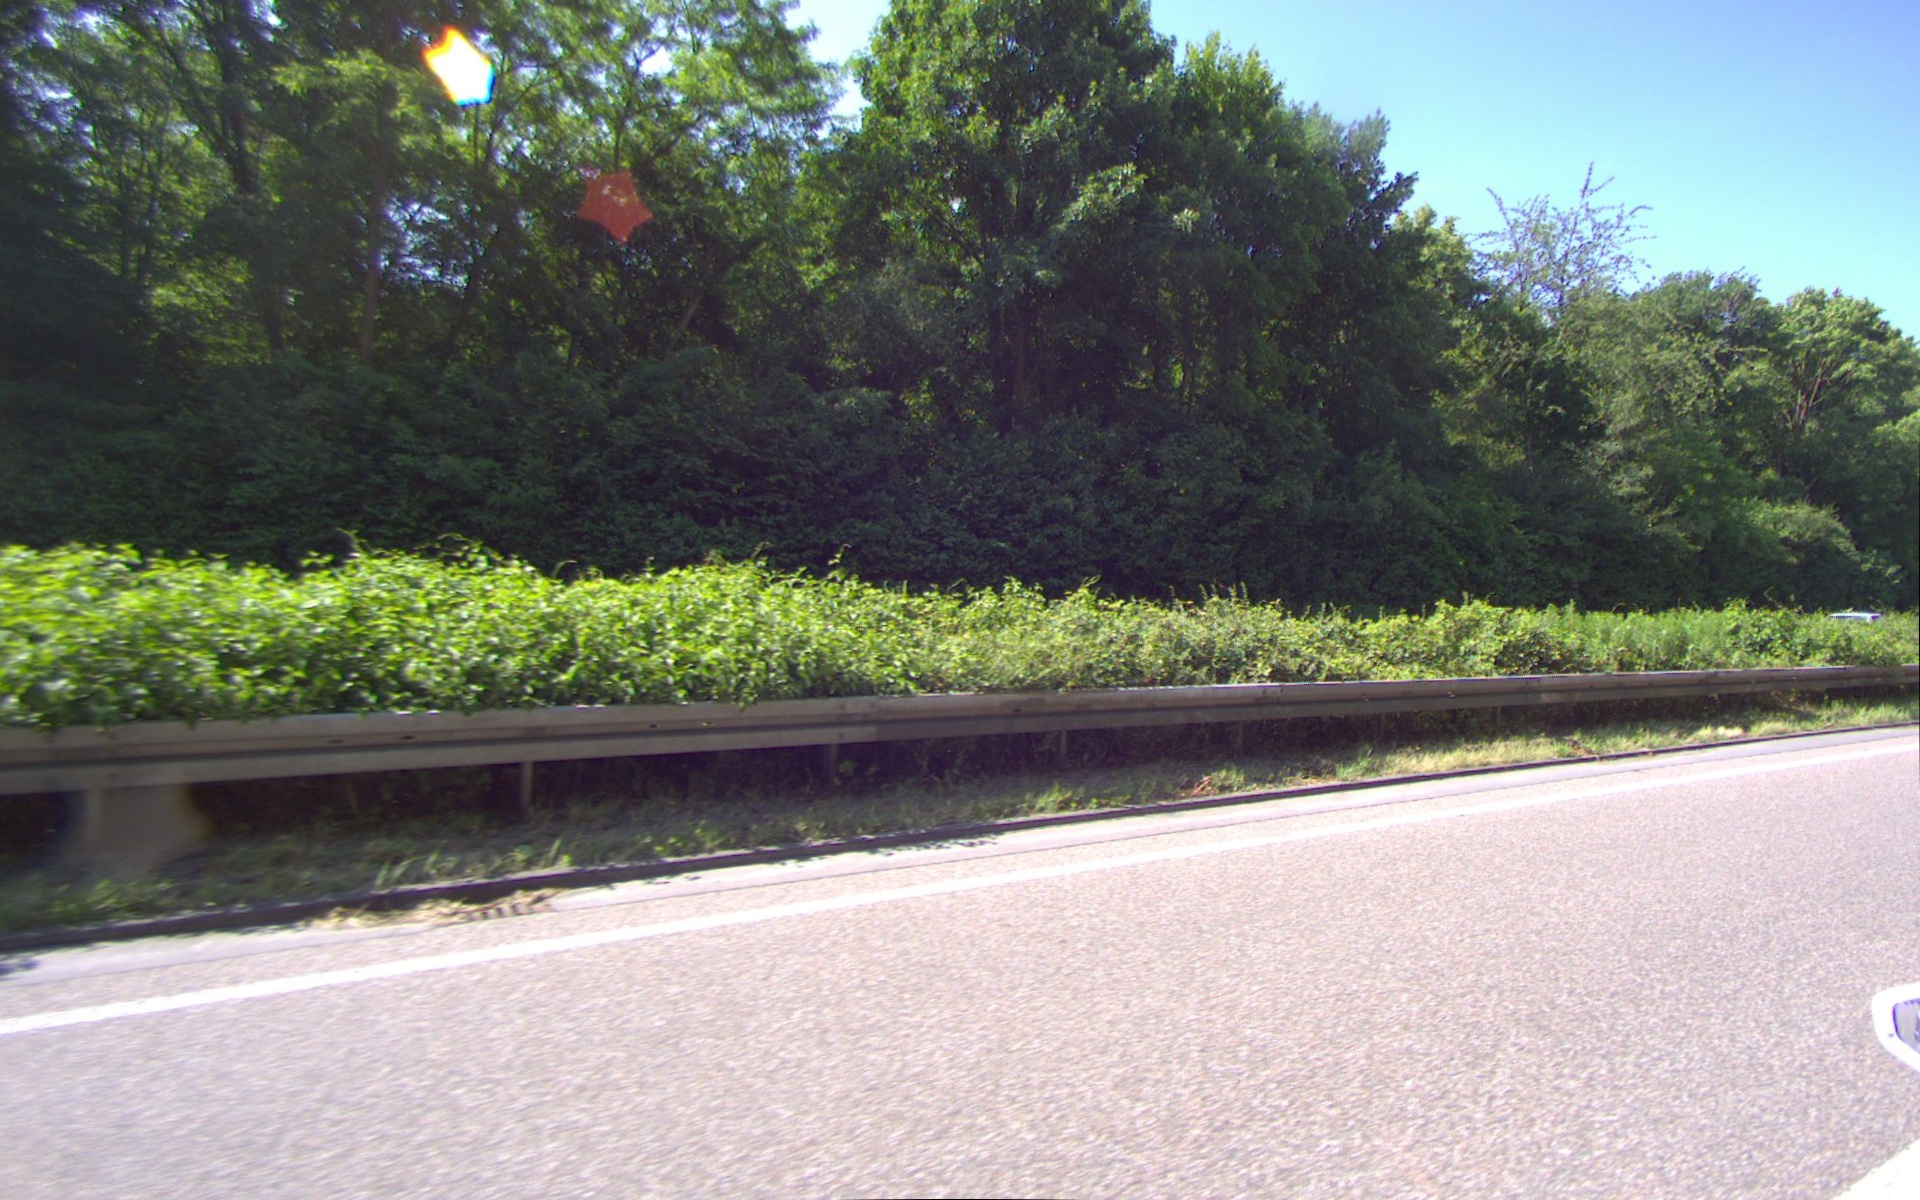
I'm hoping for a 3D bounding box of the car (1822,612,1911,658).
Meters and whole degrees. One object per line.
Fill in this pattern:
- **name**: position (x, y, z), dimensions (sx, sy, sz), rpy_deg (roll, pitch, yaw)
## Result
- **car**: position (33.517, 1.283, 37.137), dimensions (3.346, 1.587, 1.540), rpy_deg (2, 0, -31)
